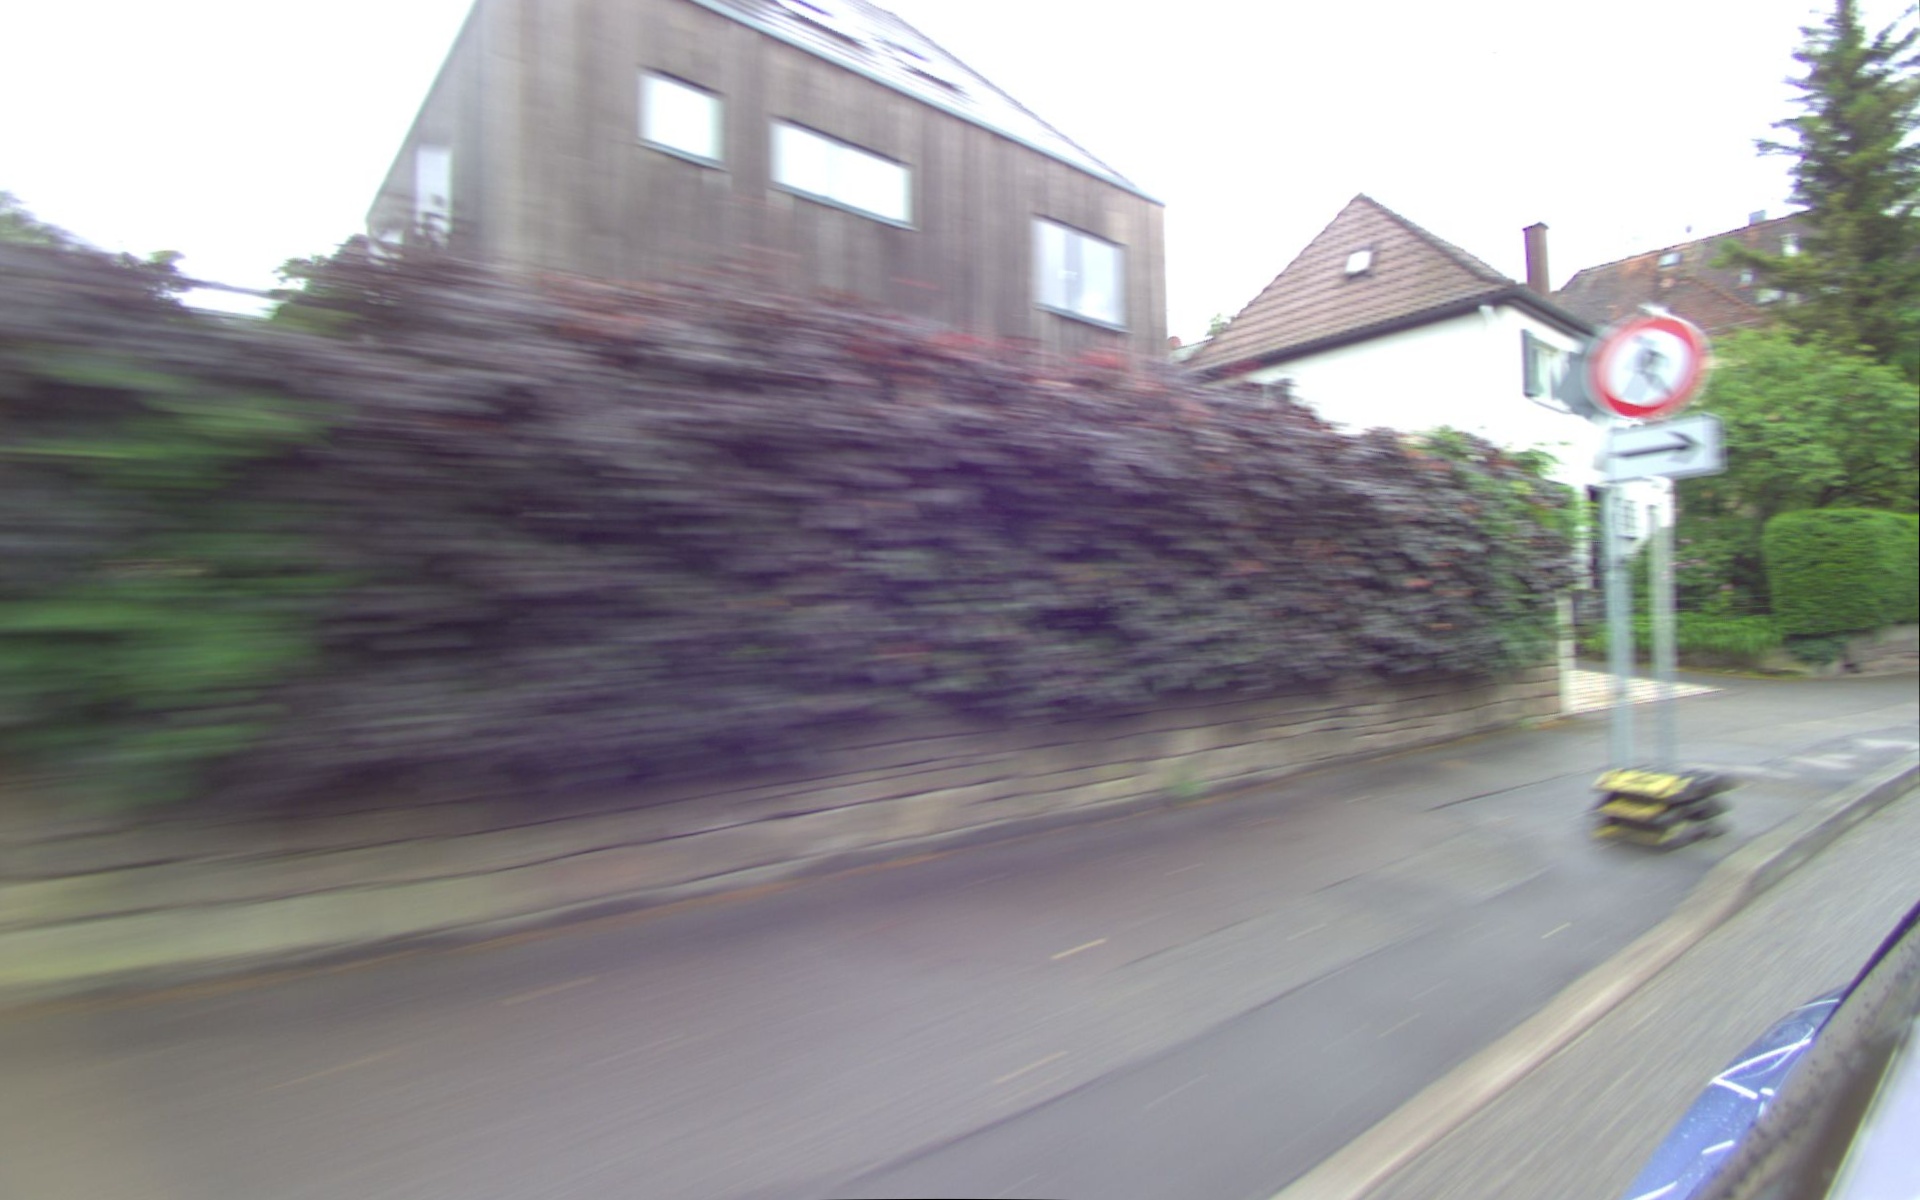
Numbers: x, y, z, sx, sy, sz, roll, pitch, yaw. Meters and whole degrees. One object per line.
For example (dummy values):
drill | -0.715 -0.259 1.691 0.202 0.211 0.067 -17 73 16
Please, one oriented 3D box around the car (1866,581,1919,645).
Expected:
car | 22.994 0.222 22.817 1.399 1.430 3.489 -1 -3 -30
